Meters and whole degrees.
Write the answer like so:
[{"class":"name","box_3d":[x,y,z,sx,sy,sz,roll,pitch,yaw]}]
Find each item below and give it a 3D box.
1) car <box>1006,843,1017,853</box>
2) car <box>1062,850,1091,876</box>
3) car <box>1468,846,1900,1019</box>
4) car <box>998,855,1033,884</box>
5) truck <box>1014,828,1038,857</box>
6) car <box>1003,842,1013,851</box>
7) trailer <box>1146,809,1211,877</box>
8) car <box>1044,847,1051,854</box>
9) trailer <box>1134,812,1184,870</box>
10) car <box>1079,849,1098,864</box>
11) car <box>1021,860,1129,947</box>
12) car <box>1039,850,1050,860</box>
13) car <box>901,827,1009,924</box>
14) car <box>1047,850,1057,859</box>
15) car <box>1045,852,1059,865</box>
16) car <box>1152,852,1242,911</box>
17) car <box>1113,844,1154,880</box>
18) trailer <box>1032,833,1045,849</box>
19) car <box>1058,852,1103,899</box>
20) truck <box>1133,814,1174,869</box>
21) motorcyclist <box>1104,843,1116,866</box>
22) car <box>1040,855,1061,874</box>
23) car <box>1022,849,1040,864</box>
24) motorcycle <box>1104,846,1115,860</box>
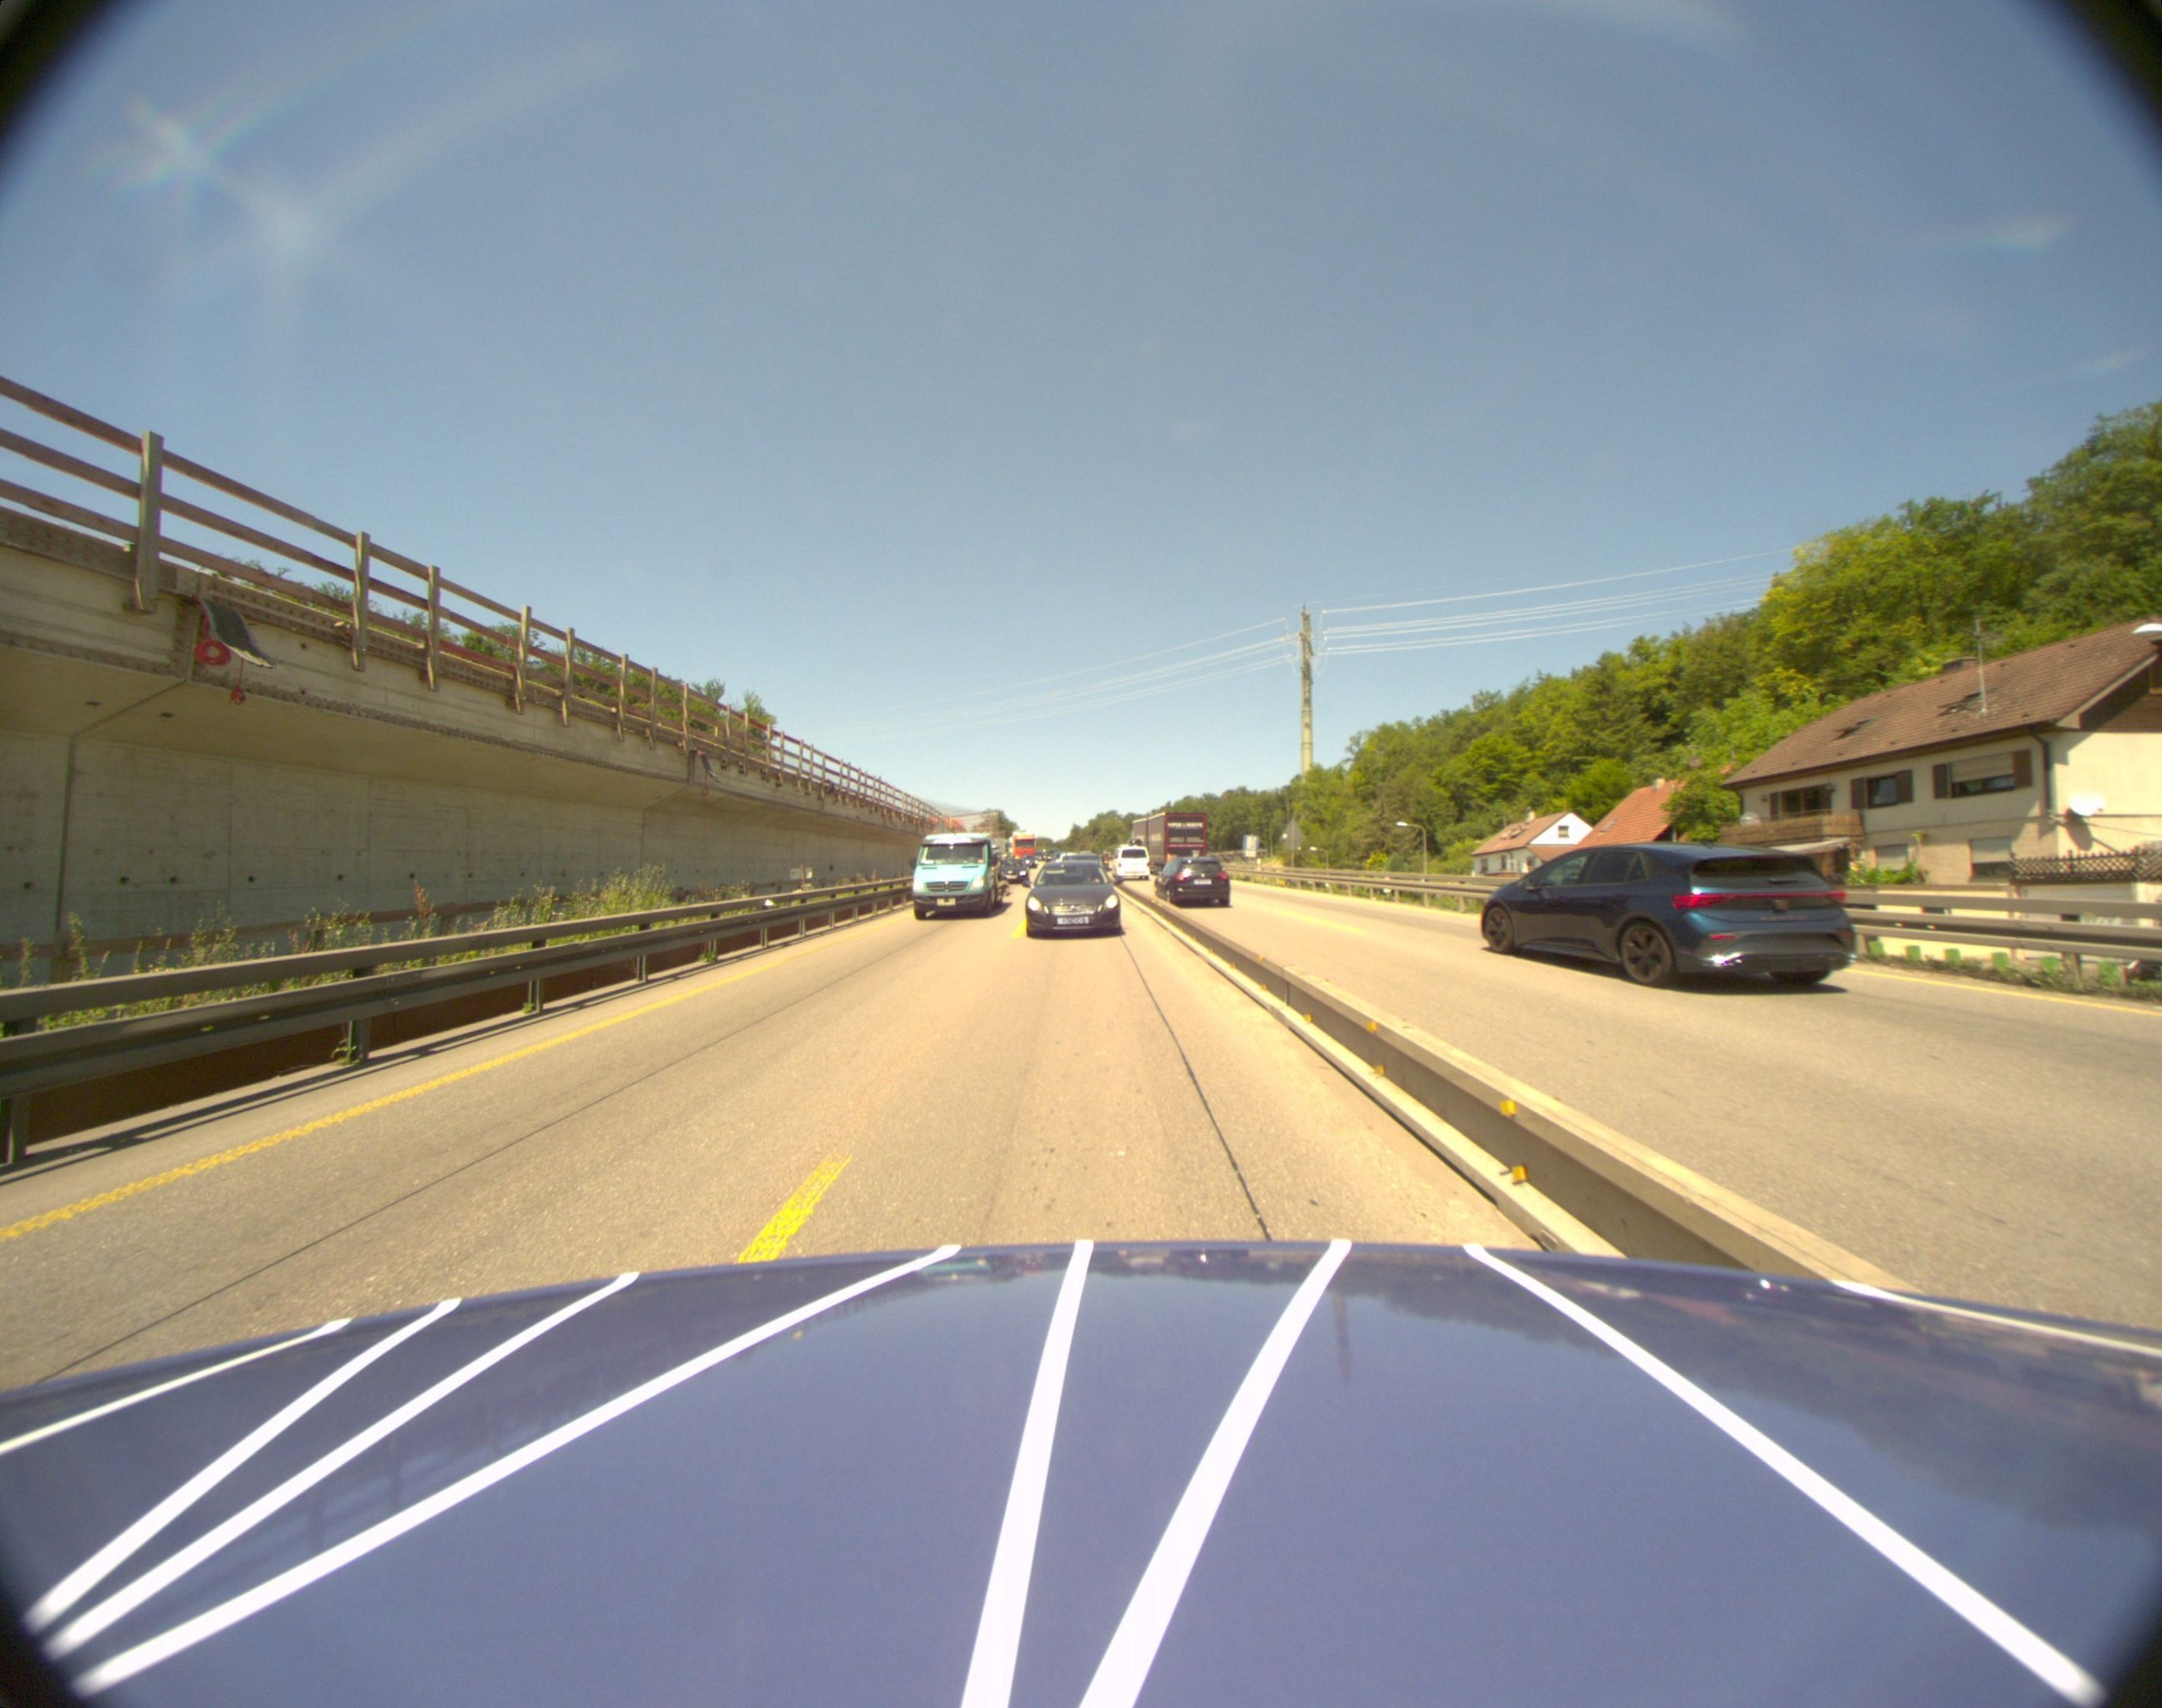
[{"class":"car","box_3d":[-11.814,-1.053,129.056,1.586,1.660,3.343,-2,1,-2]},{"class":"car","box_3d":[-0.358,0.581,50.561,1.736,1.558,3.618,-2,1,-3]},{"class":"car","box_3d":[6.683,0.706,9.176,1.847,1.508,4.256,-2,1,0]},{"class":"car","box_3d":[-3.606,0.829,42.445,1.739,1.401,3.584,-2,1,-3]},{"class":"truck","box_3d":[-7.238,-1.526,98.490,2.472,3.464,9.860,-2,1,-7]},{"class":"car","box_3d":[-14.731,-1.551,153.228,1.586,1.666,3.343,-2,1,-2]},{"class":"trailer","box_3d":[6.287,-0.625,50.384,2.765,4.046,8.633,-2,0,-2]},{"class":"car","box_3d":[-7.846,-0.828,178.023,1.586,1.366,3.343,-2,1,-2]},{"class":"trailer","box_3d":[5.914,-0.899,58.650,2.764,4.046,8.006,-2,0,-1]},{"class":"car","box_3d":[0.815,0.245,85.184,1.864,1.602,4.067,-2,1,-2]},{"class":"car","box_3d":[-0.276,0.907,15.961,1.845,1.475,4.560,-1,0,-5]},{"class":"car","box_3d":[-5.726,0.127,118.455,1.586,1.366,3.343,-2,1,-2]},{"class":"car","box_3d":[-3.380,0.460,21.842,2.217,2.312,6.898,-1,1,-3]},{"class":"car","box_3d":[-5.041,0.114,131.744,1.647,1.366,3.343,-2,1,-2]},{"class":"car","box_3d":[-3.390,0.544,90.446,1.586,1.366,3.343,-2,1,-2]},{"class":"car","box_3d":[3.453,0.750,23.472,1.999,1.495,4.647,-2,1,-1]},{"class":"car","box_3d":[3.088,0.408,45.416,2.028,1.949,4.897,-2,1,-1]},{"class":"trailer","box_3d":[-11.887,-3.615,212.030,3.261,4.354,14.050,-2,1,-4]},{"class":"car","box_3d":[-0.063,0.727,28.339,1.520,1.543,3.859,-1,1,-2]},{"class":"truck","box_3d":[5.865,-0.999,62.222,2.759,4.258,4.956,-2,0,-1]},{"class":"motorcyclist","box_3d":[2.374,0.015,62.104,0.855,1.844,0.983,-2,0,-1]},{"class":"car","box_3d":[-2.459,0.854,61.928,1.647,1.366,3.343,-2,1,-2]},{"class":"car","box_3d":[-5.020,0.202,76.974,1.647,1.366,3.343,-2,1,-2]},{"class":"motorcycle","box_3d":[2.348,-0.090,62.213,0.788,1.073,1.912,-2,0,-1]}]
